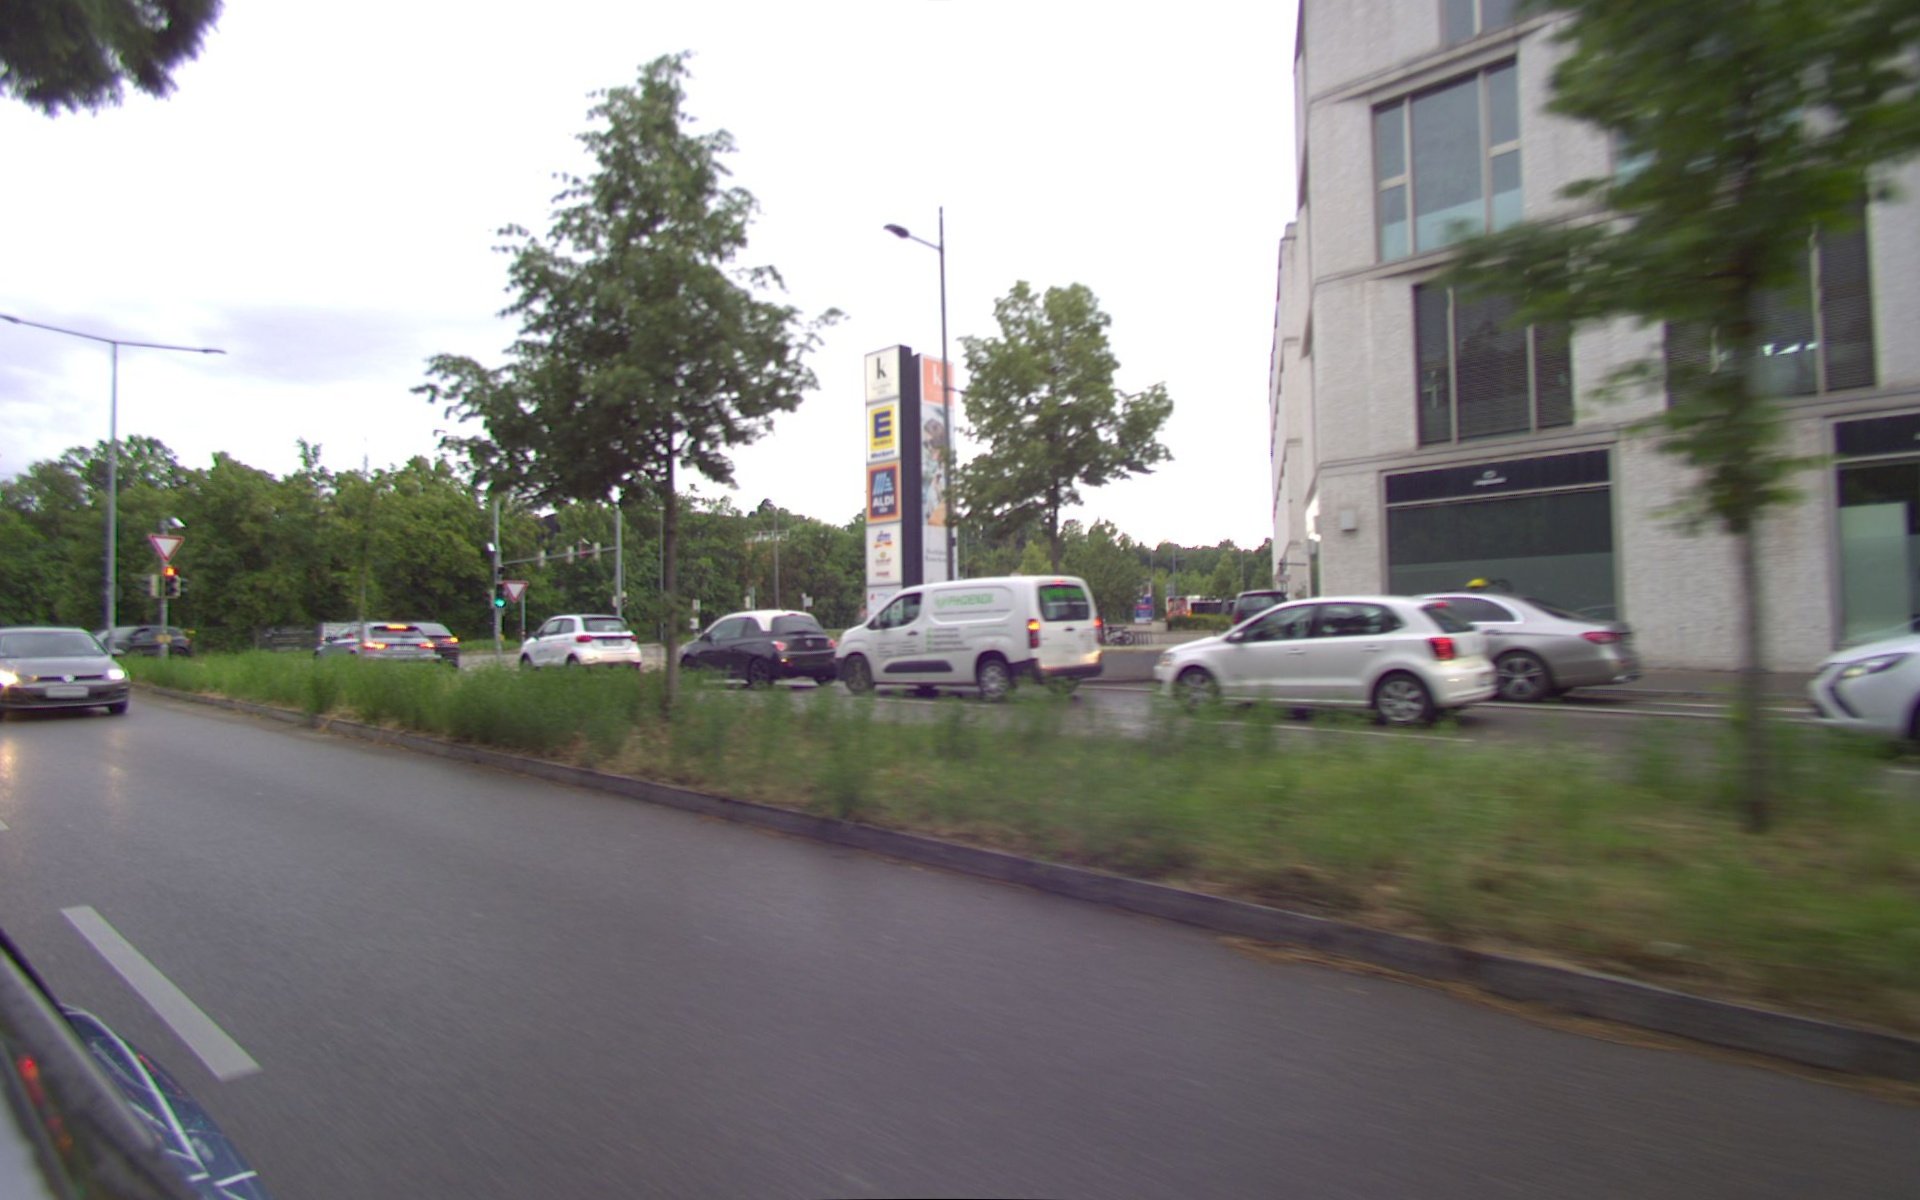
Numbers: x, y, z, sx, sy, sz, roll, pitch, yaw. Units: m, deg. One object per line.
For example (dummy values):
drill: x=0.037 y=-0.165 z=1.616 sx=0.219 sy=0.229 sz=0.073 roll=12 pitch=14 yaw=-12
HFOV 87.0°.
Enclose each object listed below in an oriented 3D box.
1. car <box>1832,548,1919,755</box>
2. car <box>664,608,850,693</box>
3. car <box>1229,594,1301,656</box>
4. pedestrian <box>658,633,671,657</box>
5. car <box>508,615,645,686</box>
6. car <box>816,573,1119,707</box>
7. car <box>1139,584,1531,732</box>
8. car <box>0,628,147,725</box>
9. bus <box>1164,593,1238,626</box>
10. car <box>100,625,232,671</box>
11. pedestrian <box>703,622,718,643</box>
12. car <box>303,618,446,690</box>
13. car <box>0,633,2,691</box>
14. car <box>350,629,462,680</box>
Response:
car: x=9.442 y=0.390 z=7.356 sx=4.672 sy=1.613 sz=1.810 roll=-1 pitch=-1 yaw=41
car: x=-3.975 y=1.002 z=19.483 sx=3.751 sy=1.471 sz=1.695 roll=-4 pitch=-4 yaw=44
car: x=7.499 y=0.608 z=25.026 sx=1.553 sy=1.387 sz=3.279 roll=-2 pitch=-2 yaw=16
pedestrian: x=-23.141 y=3.529 z=79.287 sx=0.677 sy=1.898 sz=0.690 roll=-3 pitch=-2 yaw=41
car: x=-9.372 y=1.257 z=24.637 sx=3.701 sy=1.588 sz=1.632 roll=-4 pitch=-4 yaw=42
car: x=-0.024 y=0.625 z=15.987 sx=4.772 sy=1.816 sz=1.824 roll=-3 pitch=-1 yaw=42
car: x=4.363 y=0.609 z=12.156 sx=4.060 sy=1.479 sz=1.725 roll=-1 pitch=-1 yaw=43
car: x=-15.336 y=1.251 z=16.982 sx=3.996 sy=1.450 sz=1.881 roll=-3 pitch=-4 yaw=40
bus: x=23.746 y=0.935 z=99.430 sx=2.880 sy=3.011 sz=9.870 roll=-1 pitch=-1 yaw=40
car: x=-32.980 y=1.968 z=42.164 sx=1.893 sy=1.785 sz=3.974 roll=-2 pitch=-2 yaw=20
pedestrian: x=-20.613 y=2.714 z=83.680 sx=0.822 sy=1.688 sz=0.820 roll=-3 pitch=-2 yaw=41
car: x=-14.644 y=1.369 z=25.224 sx=4.162 sy=1.587 sz=1.829 roll=-5 pitch=-3 yaw=41
car: x=-27.648 y=1.751 z=28.004 sx=1.646 sy=1.541 sz=3.660 roll=-1 pitch=-2 yaw=-44
car: x=-17.701 y=1.770 z=32.281 sx=4.061 sy=1.531 sz=1.806 roll=-4 pitch=-5 yaw=41
